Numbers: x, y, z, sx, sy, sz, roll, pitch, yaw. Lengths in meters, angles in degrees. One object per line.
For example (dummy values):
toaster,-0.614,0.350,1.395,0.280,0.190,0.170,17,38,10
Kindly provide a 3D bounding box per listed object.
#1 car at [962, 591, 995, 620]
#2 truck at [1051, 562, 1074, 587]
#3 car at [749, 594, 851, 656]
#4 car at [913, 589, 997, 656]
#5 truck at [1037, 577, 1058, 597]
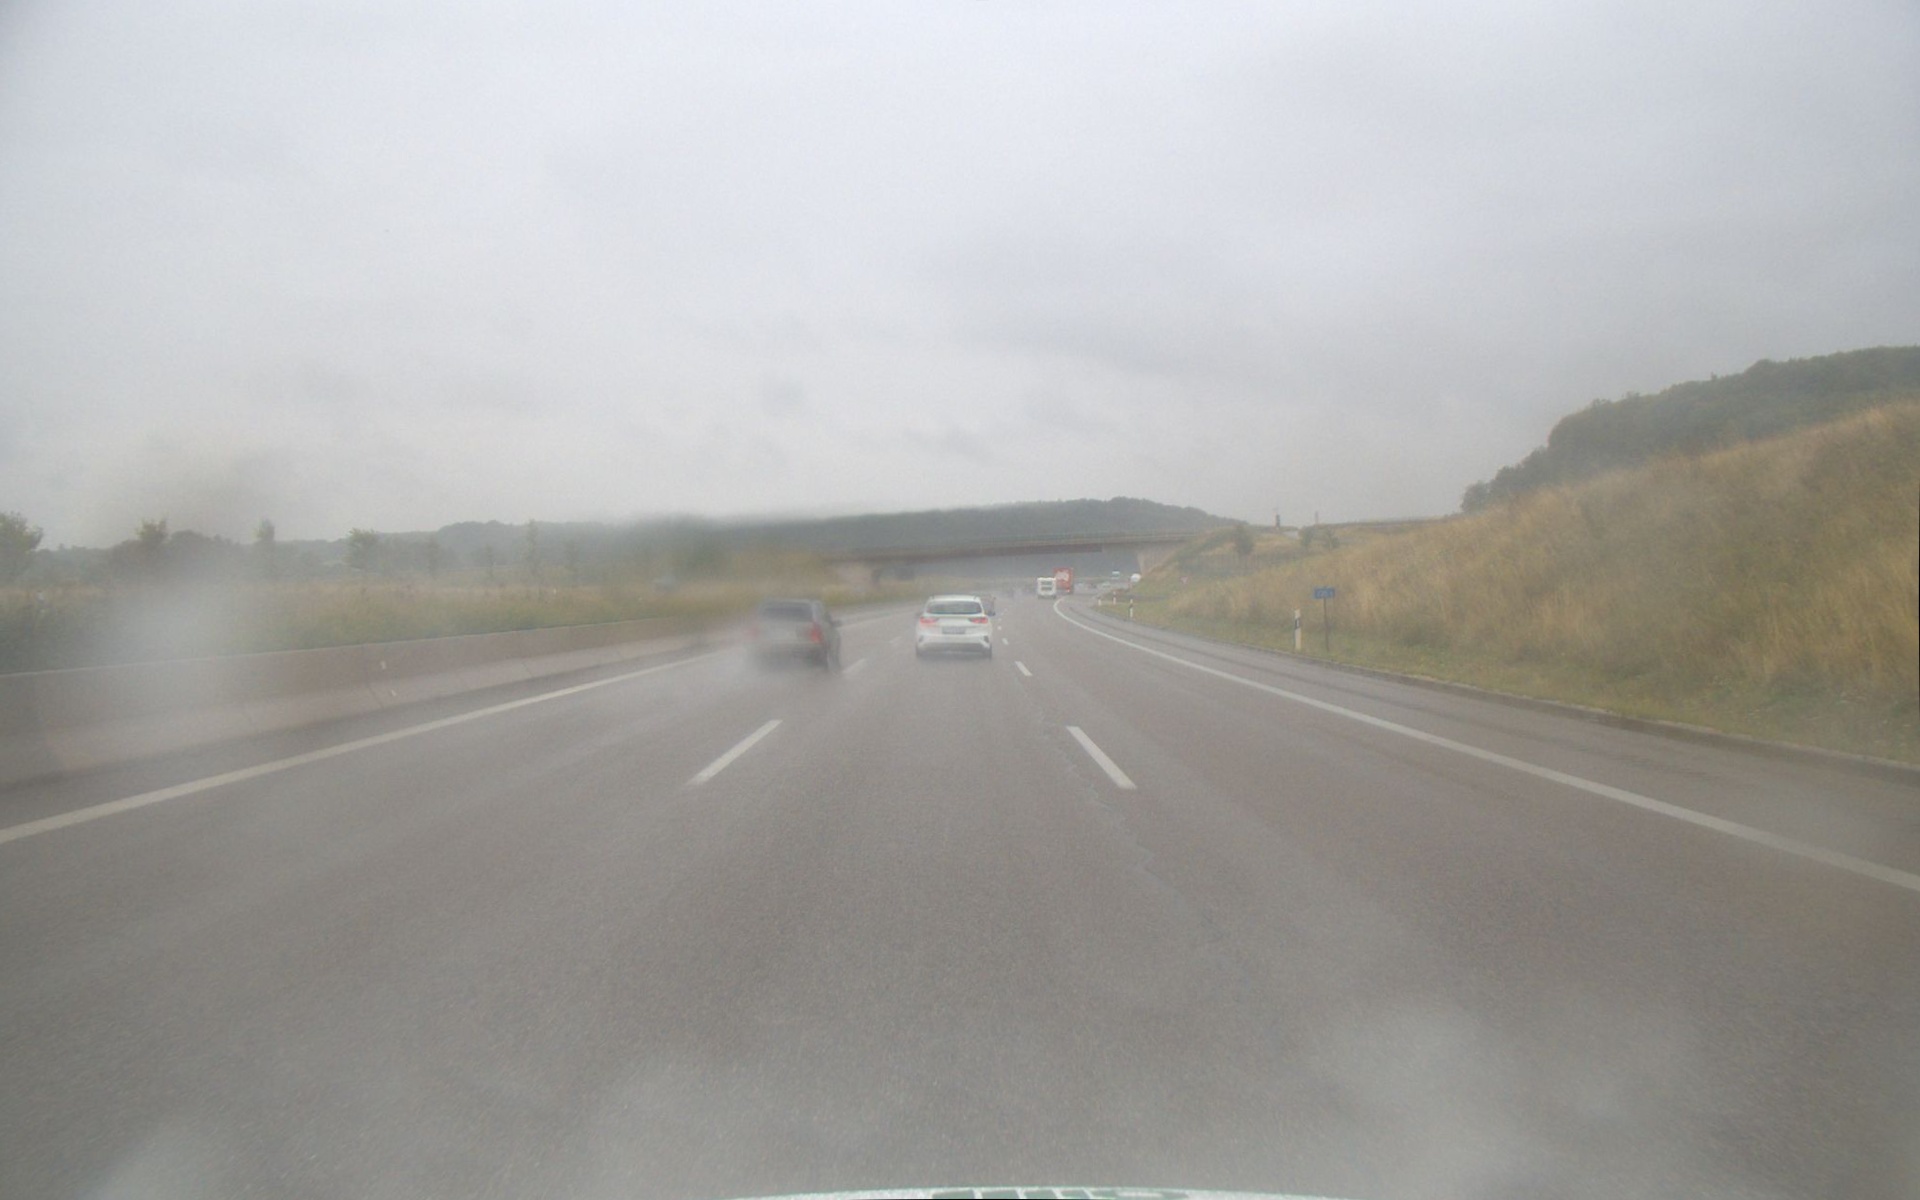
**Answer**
car,1.078,0.317,98.426,1.953,1.646,4.000,0,1,0
truck,15.804,-3.999,256.042,3.453,3.808,11.432,1,2,3
car,-3.230,0.490,34.139,1.787,1.176,4.211,1,0,-2
car,-0.168,0.499,39.075,1.830,1.488,3.998,0,0,-2
truck,10.542,-1.557,198.401,2.357,2.291,4.696,0,1,5
